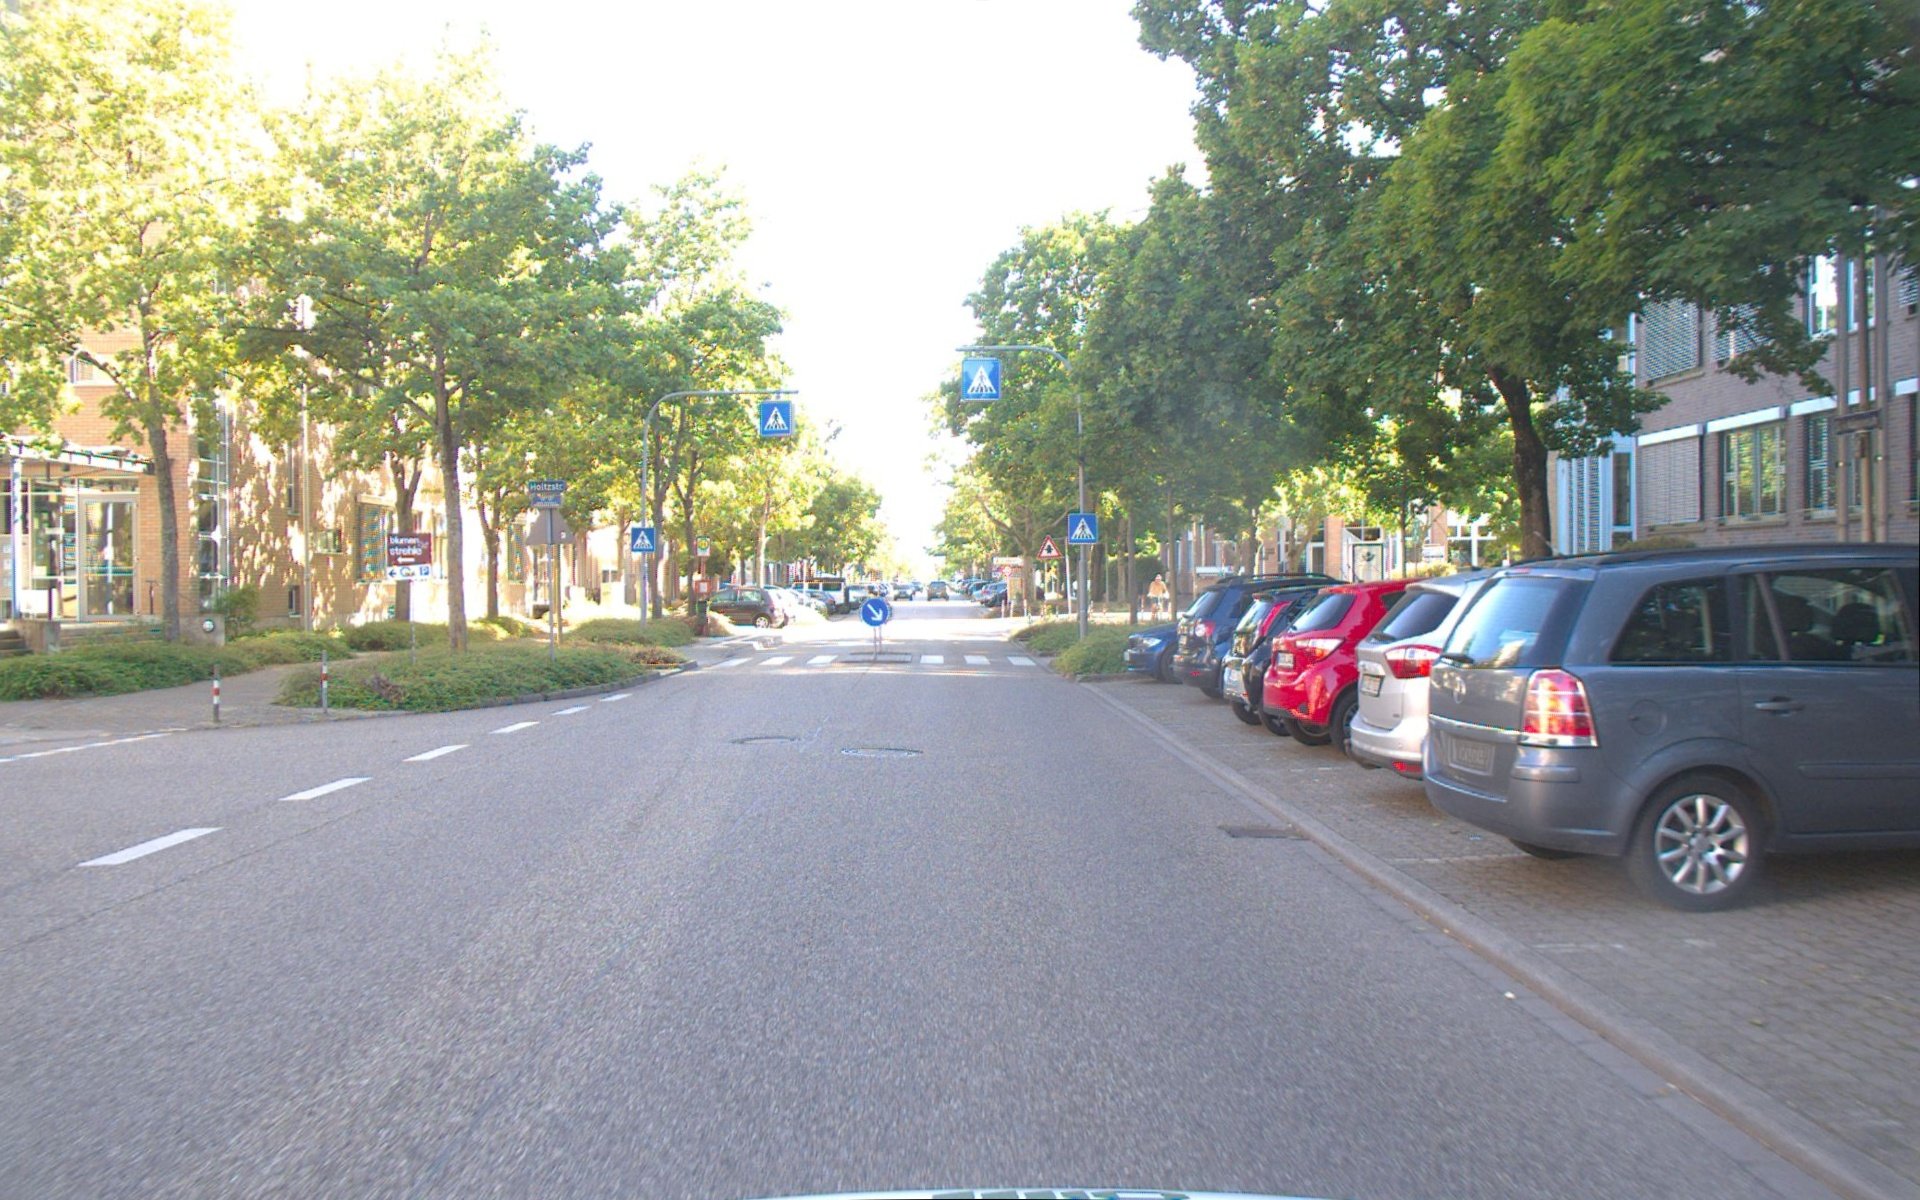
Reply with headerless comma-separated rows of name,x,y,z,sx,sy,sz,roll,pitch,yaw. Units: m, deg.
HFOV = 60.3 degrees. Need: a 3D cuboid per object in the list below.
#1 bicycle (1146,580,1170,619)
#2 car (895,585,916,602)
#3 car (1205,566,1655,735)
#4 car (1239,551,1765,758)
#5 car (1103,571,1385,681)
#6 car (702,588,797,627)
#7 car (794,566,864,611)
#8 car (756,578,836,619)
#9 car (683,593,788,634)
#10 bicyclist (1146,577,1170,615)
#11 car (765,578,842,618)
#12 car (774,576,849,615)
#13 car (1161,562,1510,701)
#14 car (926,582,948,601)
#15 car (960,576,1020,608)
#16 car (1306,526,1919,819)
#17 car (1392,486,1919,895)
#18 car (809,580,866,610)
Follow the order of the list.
bicycle,6.528,-0.025,54.435,0.669,1.236,1.978,-1,0,10
car,-5.106,-0.612,155.361,1.776,1.551,4.000,-1,0,0
car,4.802,0.487,17.259,4.108,1.474,1.811,-3,0,-4
car,4.791,0.451,14.987,4.108,1.562,1.811,-3,0,-4
car,4.495,0.395,26.525,4.108,1.498,1.811,-3,0,-4
car,-8.545,0.304,67.254,3.775,1.499,1.810,1,0,-7
car,-7.744,-0.689,98.245,3.903,2.586,1.863,0,0,4
car,-8.624,-0.111,87.394,3.903,2.049,2.001,-1,0,3
car,-8.472,0.507,62.634,3.772,1.499,1.811,1,0,-4
bicyclist,6.523,-0.137,54.431,0.683,1.236,0.946,-1,0,10
car,-8.518,-0.120,90.242,3.903,2.049,2.001,-1,0,3
car,-8.305,-0.243,92.913,3.903,2.049,2.001,-1,0,3
car,4.885,0.392,21.861,4.108,1.562,1.811,-3,0,-4
car,-2.083,-0.764,150.682,1.953,1.668,3.999,1,0,-1
car,2.019,-0.528,112.754,3.907,2.049,1.999,-1,0,-3
car,4.697,0.433,11.480,4.108,1.698,1.811,-3,0,-4
car,4.592,0.337,8.351,4.265,1.733,1.811,-3,0,-4
car,-8.675,-0.366,117.294,3.907,2.049,1.999,-1,0,-3
